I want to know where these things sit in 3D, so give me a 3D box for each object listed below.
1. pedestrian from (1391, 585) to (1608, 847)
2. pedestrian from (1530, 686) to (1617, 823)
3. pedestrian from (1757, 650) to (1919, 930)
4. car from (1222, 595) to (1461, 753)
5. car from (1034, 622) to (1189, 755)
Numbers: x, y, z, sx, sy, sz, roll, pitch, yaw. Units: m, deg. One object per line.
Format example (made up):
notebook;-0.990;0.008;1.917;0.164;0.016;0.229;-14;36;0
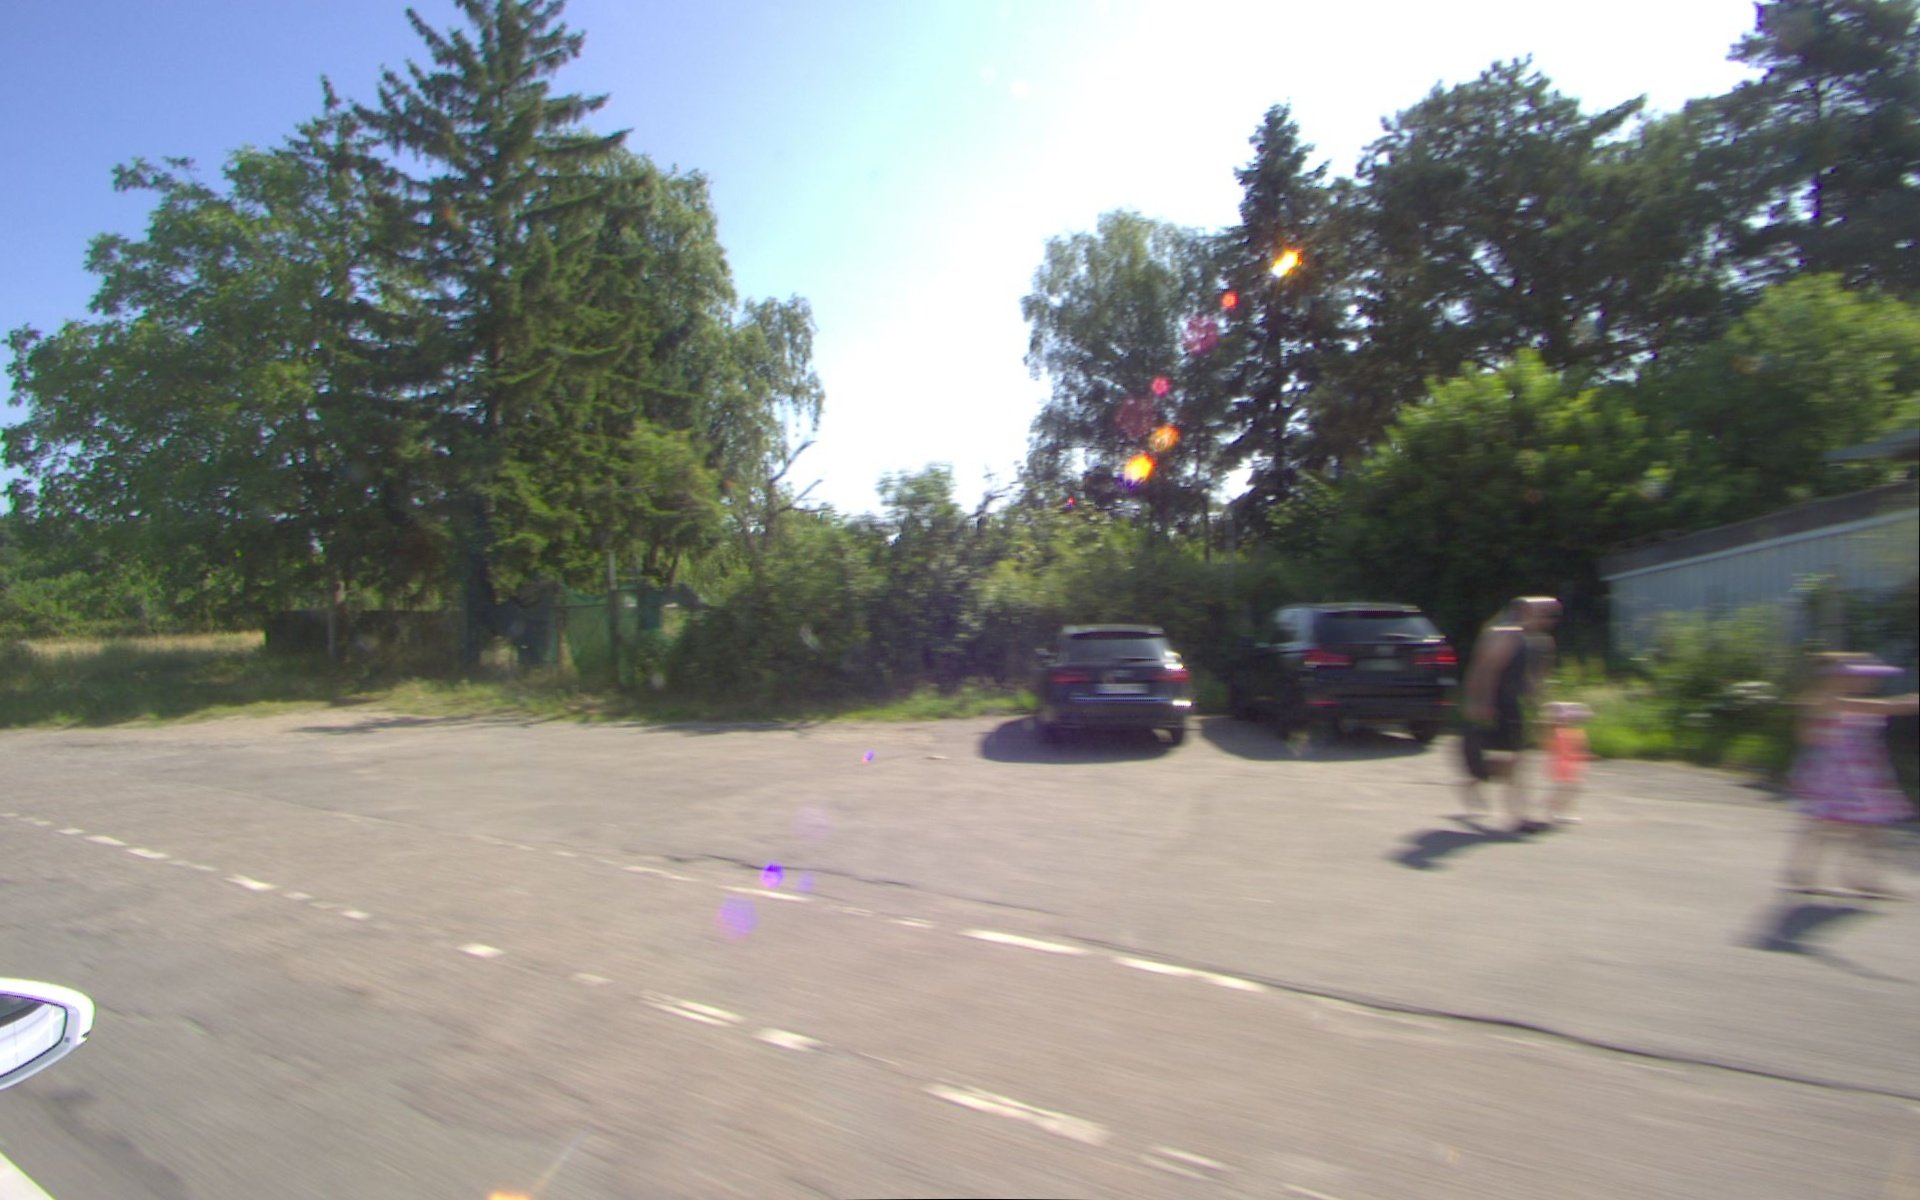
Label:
pedestrian;4.012;0.807;7.517;1.079;1.809;0.936;-1;0;-12
pedestrian;4.738;1.179;7.743;0.461;0.997;0.338;-1;1;-12
pedestrian;5.060;0.974;5.479;0.711;1.356;0.825;-1;0;-12
car;4.990;0.880;13.806;1.828;1.827;4.464;0;0;4
car;1.881;1.060;13.597;1.682;1.449;4.464;0;-1;4
